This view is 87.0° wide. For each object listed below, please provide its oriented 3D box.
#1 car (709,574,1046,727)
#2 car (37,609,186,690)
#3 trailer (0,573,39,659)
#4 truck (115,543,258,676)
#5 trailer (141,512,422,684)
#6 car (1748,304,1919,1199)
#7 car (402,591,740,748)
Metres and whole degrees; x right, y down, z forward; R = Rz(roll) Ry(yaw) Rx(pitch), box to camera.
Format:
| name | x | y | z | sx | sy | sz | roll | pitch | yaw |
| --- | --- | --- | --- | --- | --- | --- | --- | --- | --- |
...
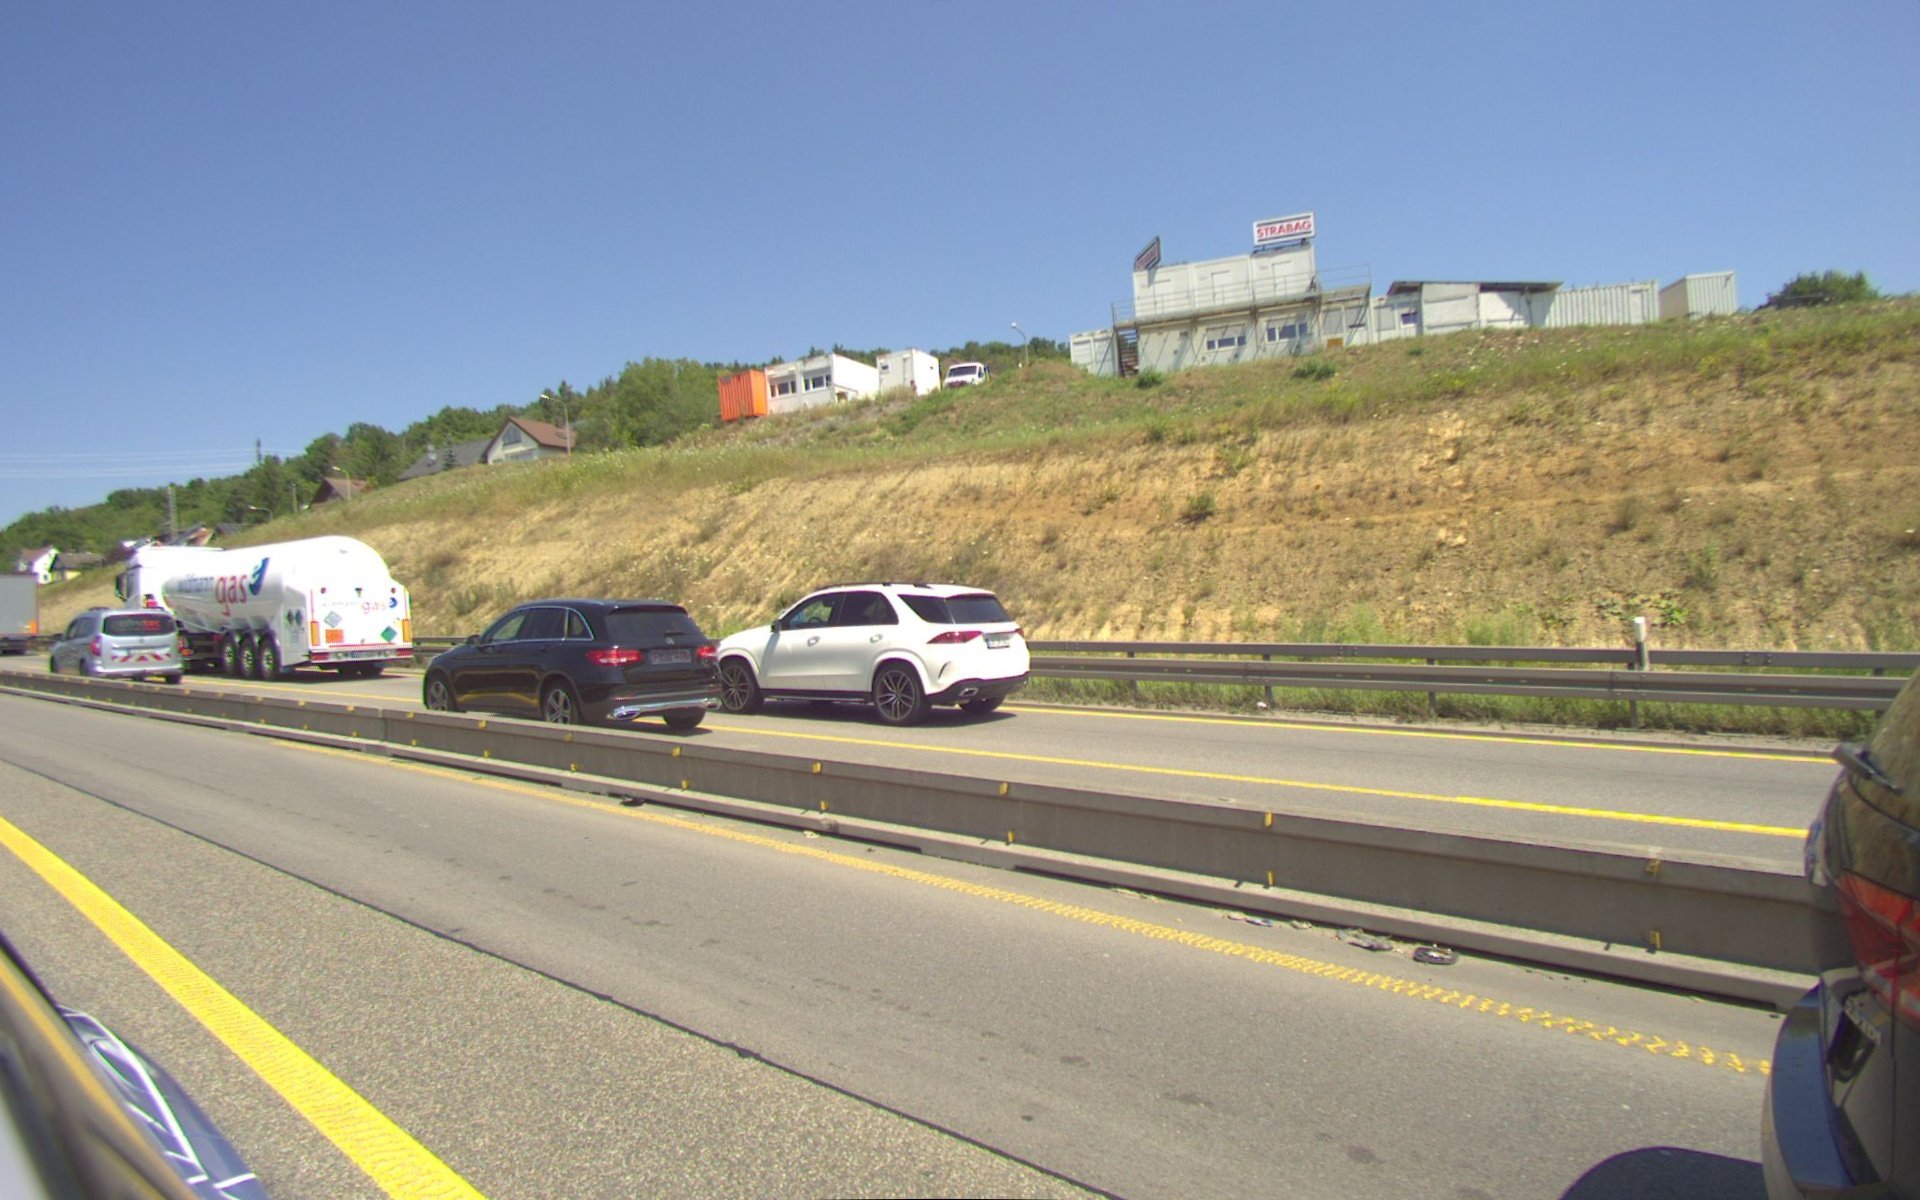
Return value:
| name | x | y | z | sx | sy | sz | roll | pitch | yaw |
| --- | --- | --- | --- | --- | --- | --- | --- | --- | --- |
| car | -1.236 | 0.643 | 13.810 | 4.529 | 1.776 | 1.774 | -2 | -1 | 37 |
| car | -20.326 | 1.148 | 24.197 | 4.476 | 1.758 | 1.862 | -2 | -2 | 38 |
| trailer | -50.764 | 0.934 | 51.953 | 13.678 | 4.055 | 2.673 | -2 | 0 | 37 |
| truck | -23.887 | 0.300 | 31.238 | 3.761 | 3.830 | 2.566 | -2 | -1 | 37 |
| trailer | -18.568 | 0.101 | 27.145 | 11.898 | 3.830 | 2.566 | -2 | 0 | 38 |
| car | 3.272 | 0.443 | 0.333 | 4.648 | 1.731 | 1.758 | -3 | -1 | 40 |
| car | -5.004 | 0.777 | 12.687 | 4.727 | 1.624 | 1.774 | -2 | 0 | 38 |
